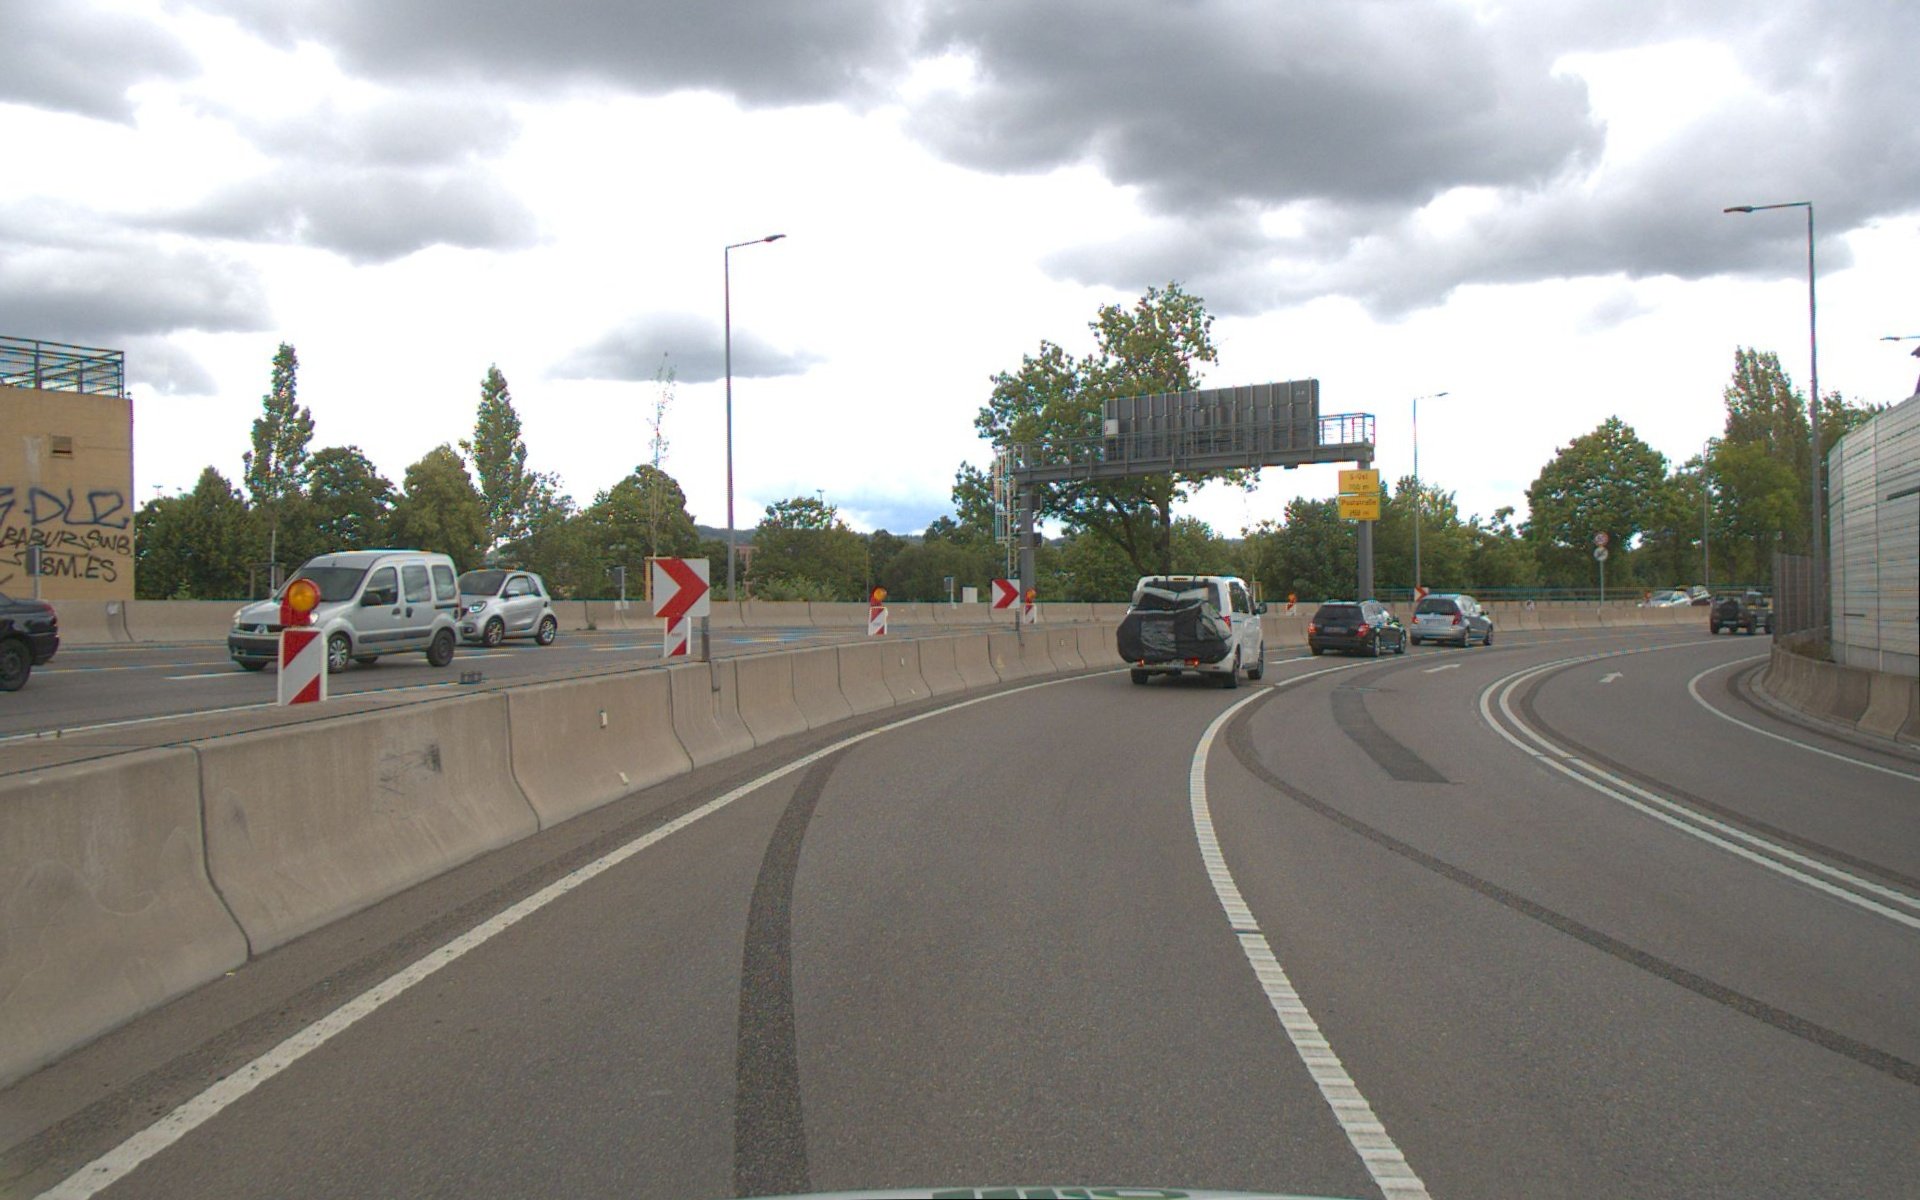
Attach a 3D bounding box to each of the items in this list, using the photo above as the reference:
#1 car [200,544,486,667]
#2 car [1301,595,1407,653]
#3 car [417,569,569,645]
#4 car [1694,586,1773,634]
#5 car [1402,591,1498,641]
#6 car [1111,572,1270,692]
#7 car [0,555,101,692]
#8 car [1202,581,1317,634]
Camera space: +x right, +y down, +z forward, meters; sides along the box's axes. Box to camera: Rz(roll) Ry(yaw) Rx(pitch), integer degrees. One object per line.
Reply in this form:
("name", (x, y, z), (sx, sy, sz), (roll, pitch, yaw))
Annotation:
("car", (-9.289, 0.067, 25.315), (1.951, 1.715, 4.262), (0, 0, 16))
("car", (10.544, 0.616, 44.065), (1.780, 1.459, 4.060), (-1, 0, 28))
("car", (-9.673, 0.129, 34.418), (1.592, 1.501, 2.940), (0, 0, 22))
("car", (31.263, 0.408, 66.813), (1.962, 1.892, 3.980), (-1, -1, 39))
("car", (15.531, 0.464, 52.283), (1.886, 1.515, 4.055), (0, 1, 32))
("car", (4.224, 0.475, 29.463), (1.951, 1.891, 5.645), (1, 1, 16))
("car", (-11.758, 0.247, 17.731), (1.951, 1.514, 4.592), (0, 0, 14))
("car", (9.642, 0.204, 52.905), (2.058, 1.579, 5.134), (1, 1, 29))
